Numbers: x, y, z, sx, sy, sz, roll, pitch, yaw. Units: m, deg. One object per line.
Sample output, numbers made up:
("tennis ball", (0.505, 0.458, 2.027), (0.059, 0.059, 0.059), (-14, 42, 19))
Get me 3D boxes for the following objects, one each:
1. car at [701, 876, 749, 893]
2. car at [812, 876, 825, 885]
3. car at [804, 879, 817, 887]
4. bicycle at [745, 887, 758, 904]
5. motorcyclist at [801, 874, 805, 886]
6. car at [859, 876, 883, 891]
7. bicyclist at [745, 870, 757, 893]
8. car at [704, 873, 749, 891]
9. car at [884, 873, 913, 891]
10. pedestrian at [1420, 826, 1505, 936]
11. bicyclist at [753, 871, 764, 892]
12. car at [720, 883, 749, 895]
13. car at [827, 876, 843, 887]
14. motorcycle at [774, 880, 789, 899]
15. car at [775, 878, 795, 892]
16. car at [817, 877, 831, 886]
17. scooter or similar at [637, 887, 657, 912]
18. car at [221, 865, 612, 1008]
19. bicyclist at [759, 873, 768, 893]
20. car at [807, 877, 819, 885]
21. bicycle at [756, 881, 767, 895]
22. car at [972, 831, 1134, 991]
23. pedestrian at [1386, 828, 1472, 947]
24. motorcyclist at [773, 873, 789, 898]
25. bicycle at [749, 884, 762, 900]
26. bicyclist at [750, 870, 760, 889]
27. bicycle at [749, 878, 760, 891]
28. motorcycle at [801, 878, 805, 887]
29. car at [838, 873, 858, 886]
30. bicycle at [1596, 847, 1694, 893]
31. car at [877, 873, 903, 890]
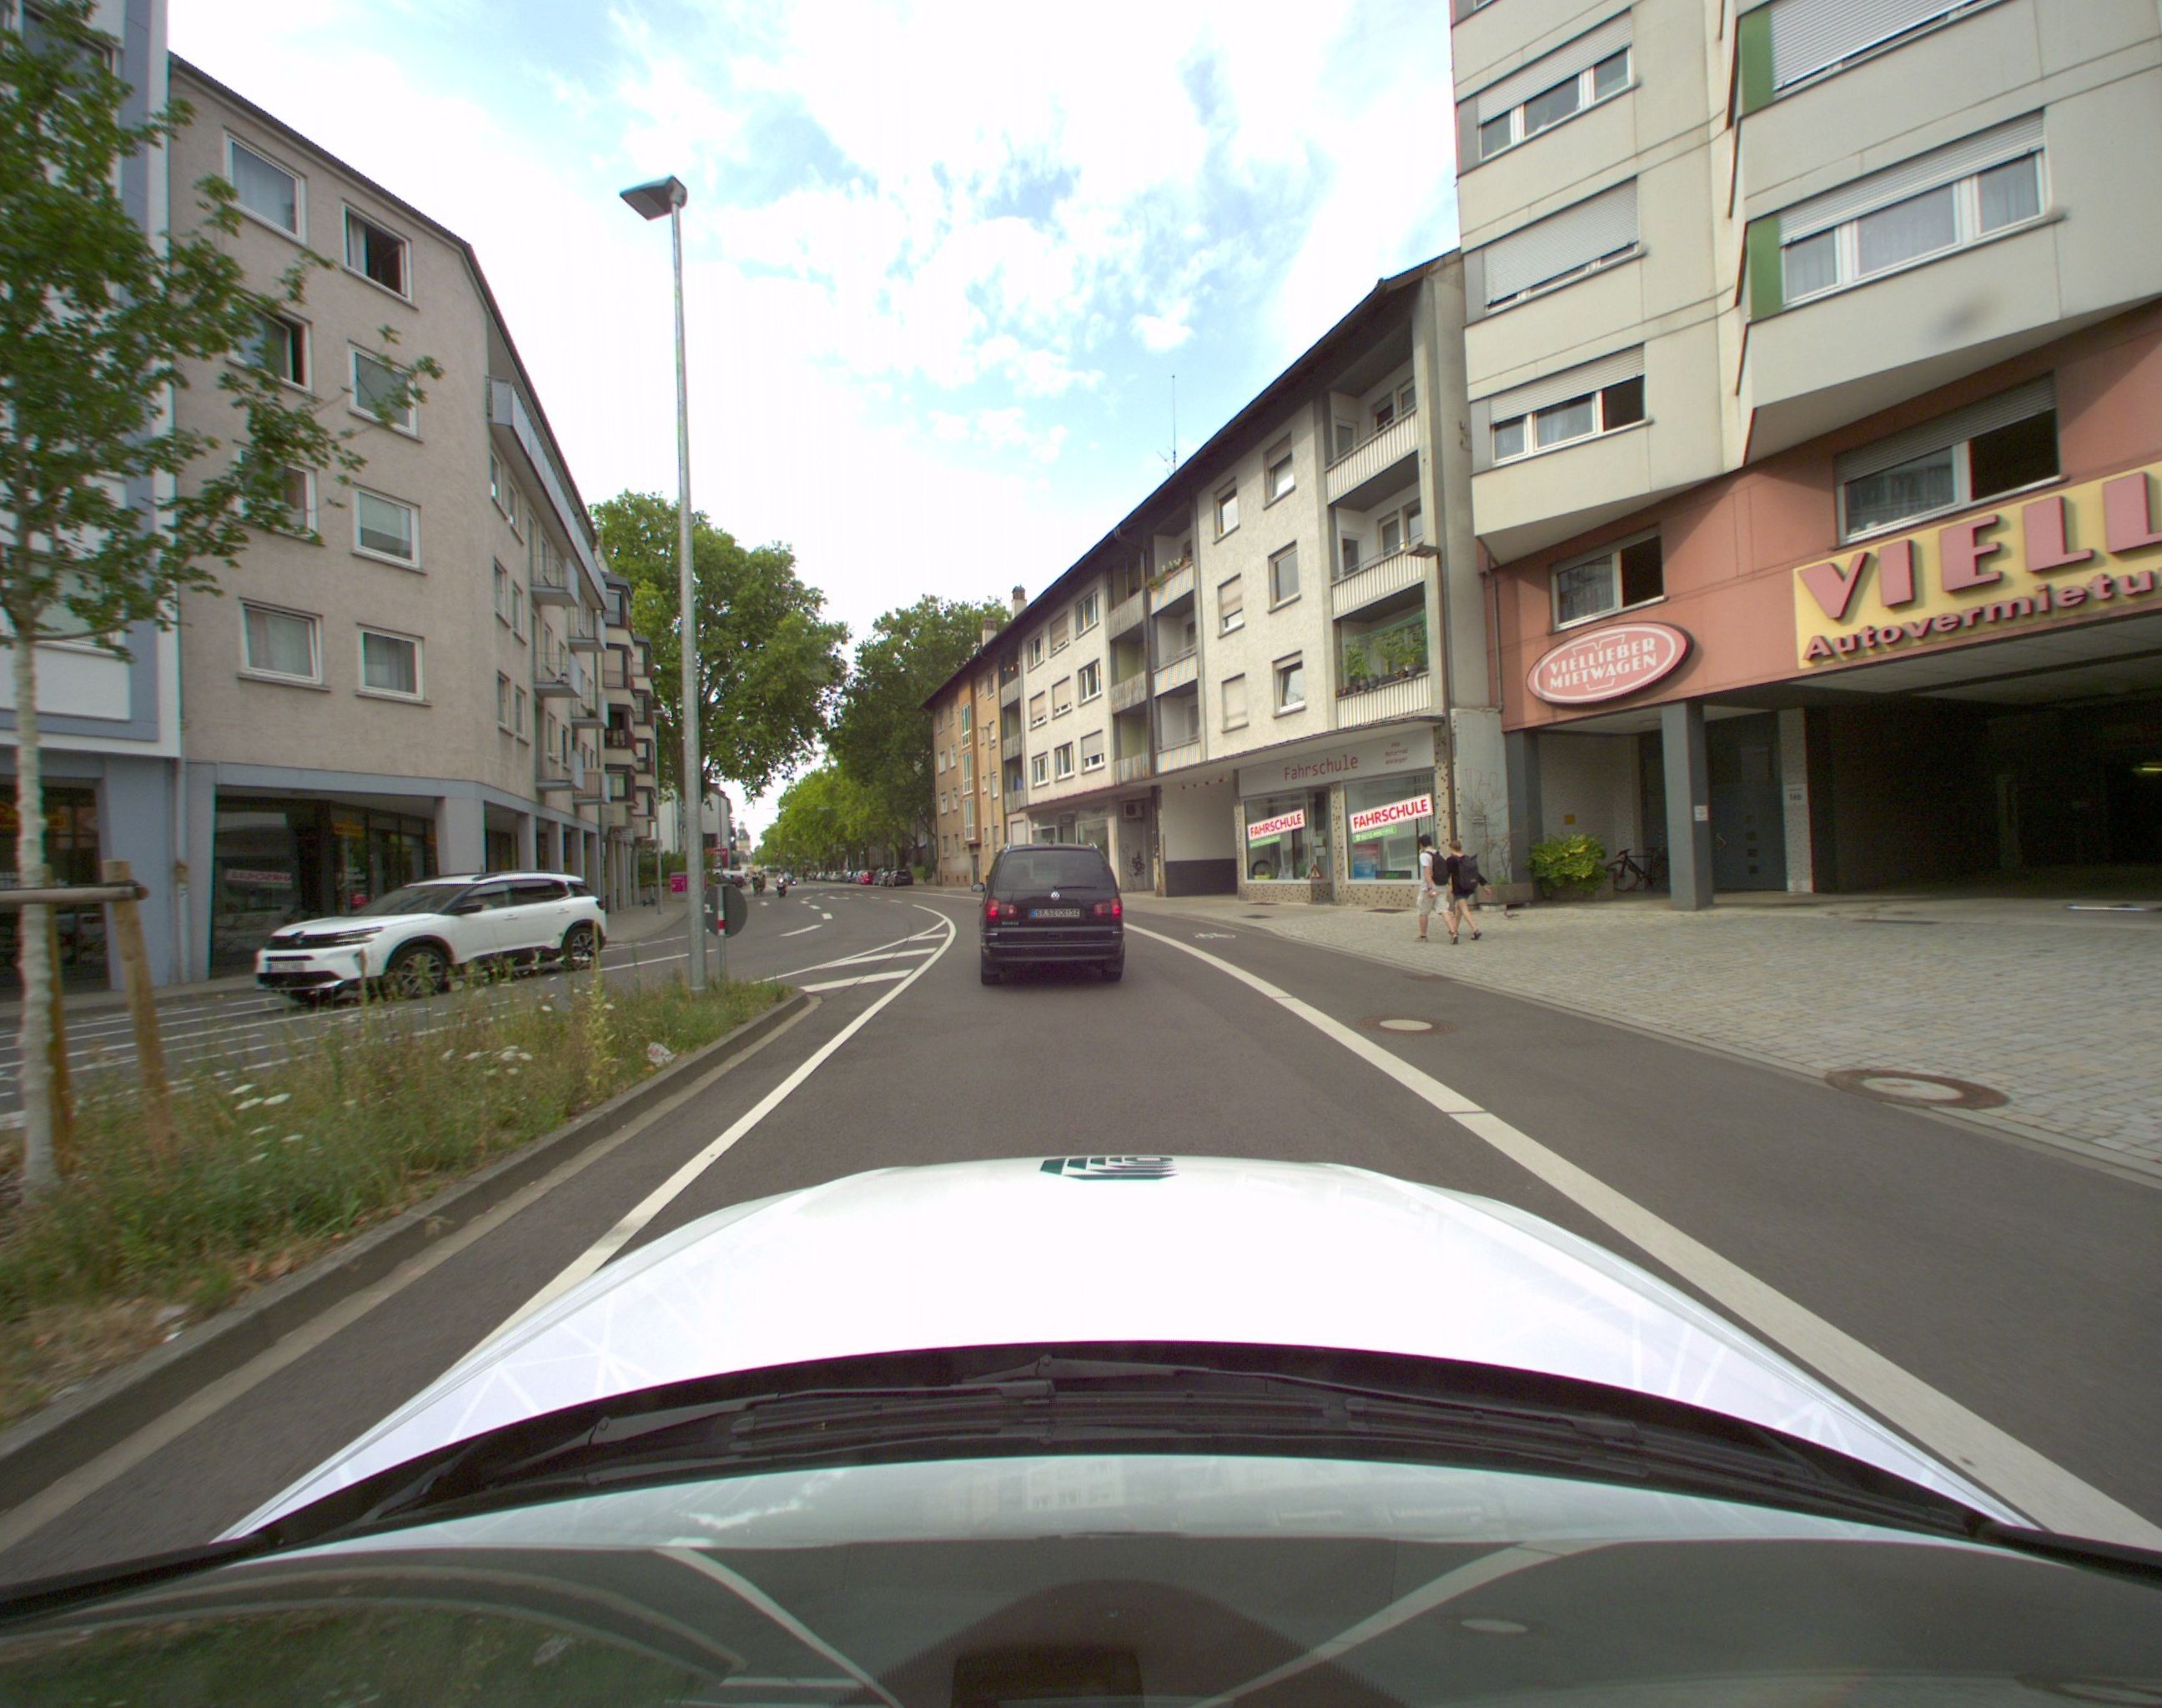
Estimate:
("car", (-35.231, 3.012, 80.743), (4.274, 1.606, 1.953), (0, -1, -23))
("car", (-42.945, 4.349, 133.224), (1.650, 1.395, 3.482), (1, -2, -26))
("car", (-47.184, 5.053, 142.066), (1.683, 1.394, 3.847), (-1, -2, -24))
("bicycle", (-22.171, 2.785, 54.826), (0.739, 1.007, 1.897), (0, -1, -18))
("motorcyclist", (-38.633, 3.657, 113.297), (0.448, 1.647, 0.515), (-2, -2, -23))
("car", (-21.430, 3.028, 82.896), (1.683, 1.394, 4.425), (-1, -2, -24))
("bicyclist", (-22.214, 1.853, 54.784), (0.659, 1.525, 0.996), (0, -1, -19))
("car", (-39.759, 3.139, 91.367), (4.544, 1.879, 2.031), (1, -2, -22))
("car", (-15.563, 2.358, 69.410), (1.665, 1.422, 3.836), (-2, 0, -23))
("pedestrian", (6.174, 0.431, 13.212), (0.607, 1.668, 0.936), (-5, 0, -25))
("bicyclist", (-23.330, 1.987, 58.934), (0.659, 1.525, 0.835), (0, -1, -19))
("car", (-43.508, 4.355, 102.179), (3.359, 1.497, 1.583), (0, -3, -25))
("car", (-34.651, 3.841, 114.538), (1.683, 1.394, 4.425), (-1, -2, -24))
("motorcycle", (-18.051, 2.152, 49.108), (0.724, 1.095, 2.022), (-4, -1, -19))
("car", (-32.933, 3.417, 90.496), (1.818, 1.408, 4.572), (-2, -1, -23))
("car", (-40.719, 4.383, 128.887), (1.650, 1.413, 3.386), (-1, -1, -27))
("scooter or similar", (-22.637, 2.376, 42.487), (1.161, 1.265, 0.289), (-3, -2, 30))
("car", (-9.398, 1.053, 12.104), (1.821, 1.660, 4.336), (-2, -1, 9))
("bicyclist", (-24.857, 2.249, 63.755), (0.659, 1.525, 0.851), (0, -1, -19))
("car", (-48.441, 4.914, 147.289), (1.683, 1.394, 3.847), (-1, -2, -24))
("bicycle", (-24.887, 2.625, 63.478), (0.740, 1.007, 1.963), (0, -1, -20))
("car", (-0.460, 0.663, 11.091), (1.809, 1.766, 3.731), (-1, -1, -5))
("pedestrian", (5.486, 0.508, 12.883), (0.752, 1.750, 0.856), (-6, 0, -12))
("motorcyclist", (-18.084, 1.919, 49.138), (0.799, 1.460, 0.859), (-4, -1, -20))
("bicycle", (-23.448, 2.723, 58.737), (0.739, 1.007, 2.238), (0, -1, -18))
("bicyclist", (-26.808, 2.103, 66.973), (0.659, 1.525, 1.069), (0, -1, -19))
("bicycle", (-26.706, 2.454, 66.684), (0.740, 1.007, 2.180), (0, -1, -20))
("motorcycle", (-38.627, 3.970, 113.289), (0.374, 1.350, 1.718), (-2, -1, -23))
("car", (-27.774, 3.098, 97.065), (1.637, 1.470, 4.283), (-1, -2, -24))
("bicycle", (11.685, 0.338, 16.926), (0.454, 0.896, 1.665), (-2, -1, -23))
("car", (-17.261, 2.497, 73.538), (1.665, 1.422, 3.916), (-2, 0, -23))
